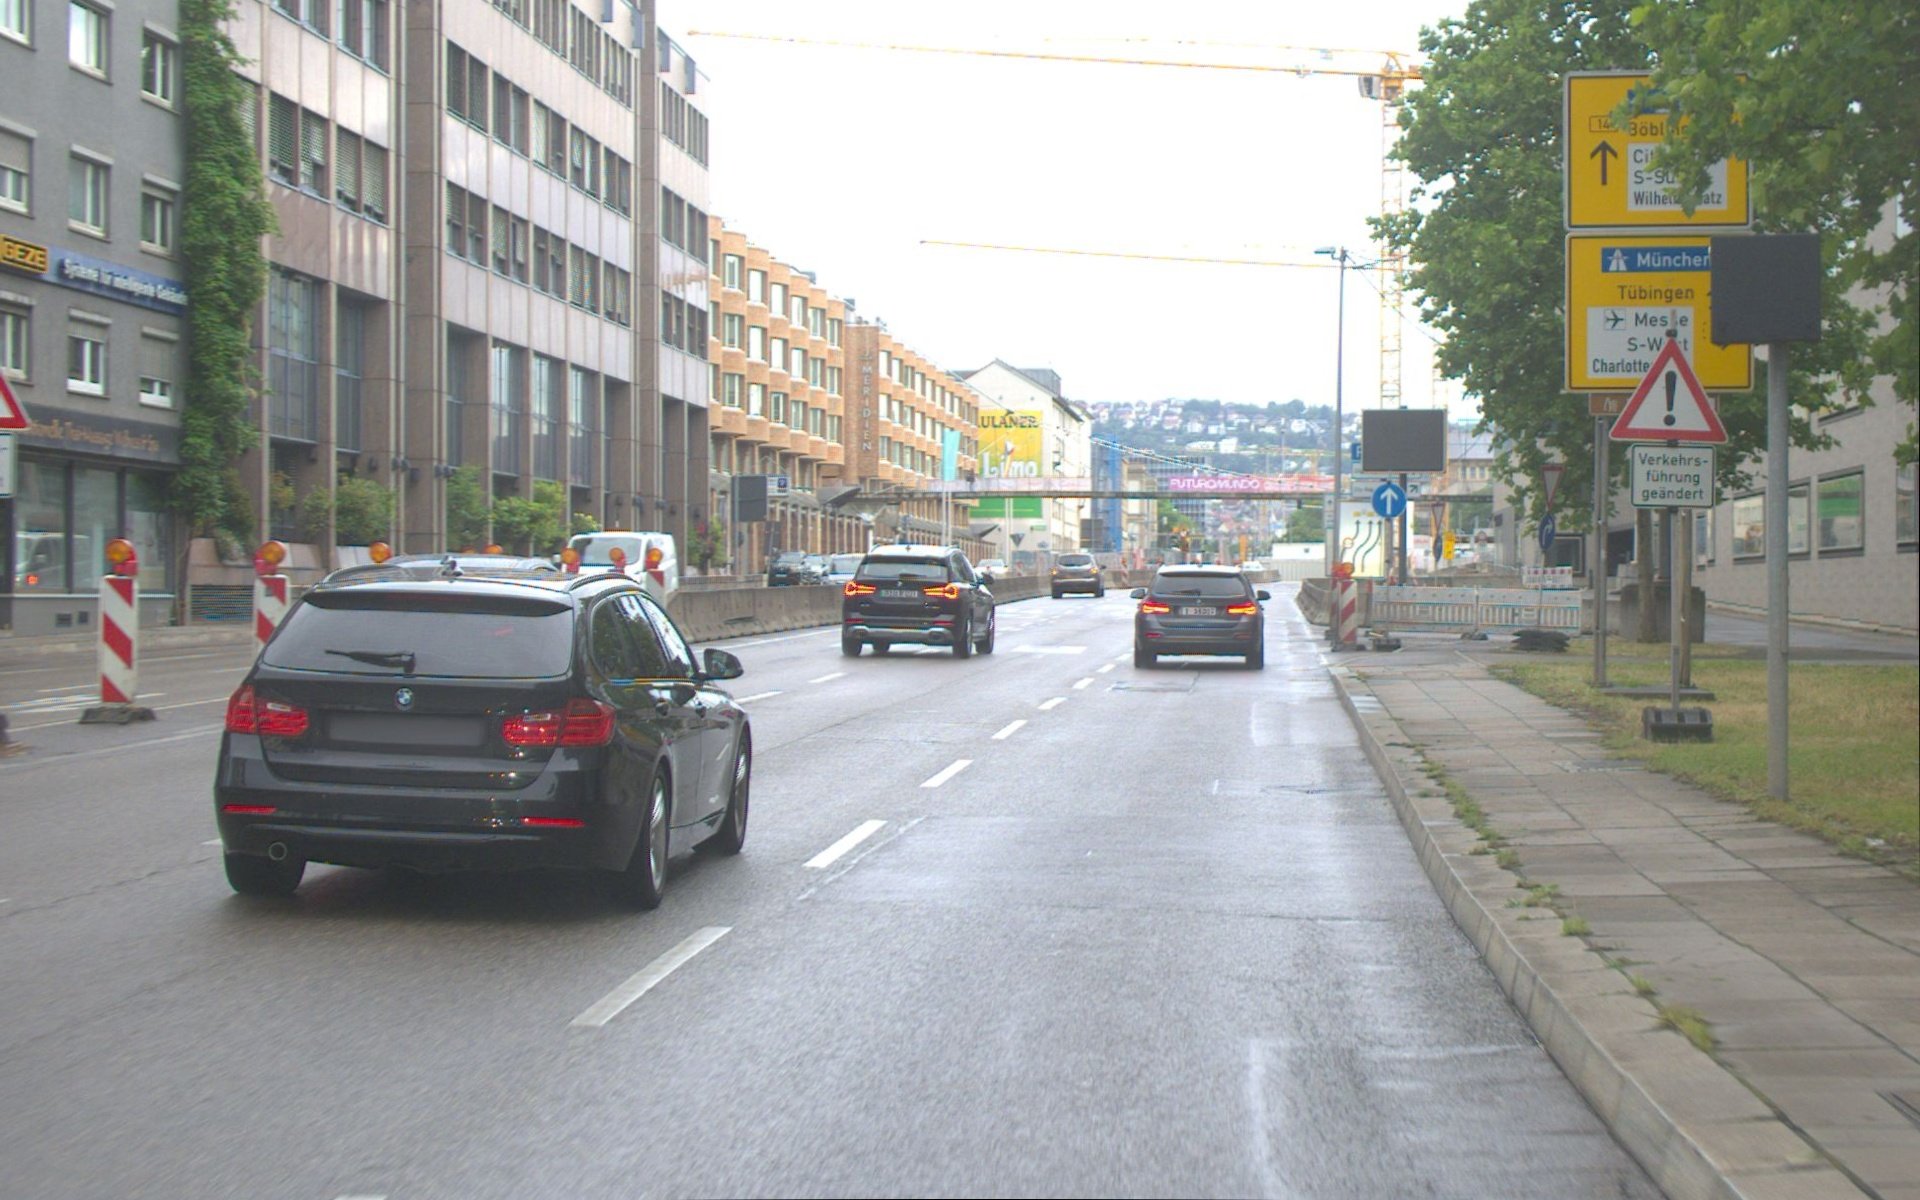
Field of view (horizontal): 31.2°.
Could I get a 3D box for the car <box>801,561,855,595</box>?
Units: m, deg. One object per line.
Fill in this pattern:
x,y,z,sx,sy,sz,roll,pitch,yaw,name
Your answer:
-6.513,-1.093,170.122,1.994,1.614,4.762,0,0,6,car

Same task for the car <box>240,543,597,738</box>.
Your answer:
-4.205,0.280,27.393,1.791,1.422,4.384,0,0,5,car

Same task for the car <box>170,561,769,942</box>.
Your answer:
-2.045,0.562,15.701,1.791,1.421,4.613,2,1,3,car

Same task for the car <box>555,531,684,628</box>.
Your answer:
-7.259,-0.450,73.718,1.994,1.983,5.289,0,0,3,car

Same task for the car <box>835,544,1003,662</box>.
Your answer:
-0.562,0.027,51.259,1.900,1.687,3.999,0,0,8,car

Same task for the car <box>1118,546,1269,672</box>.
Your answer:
3.350,0.106,48.641,1.900,1.687,3.999,0,0,7,car

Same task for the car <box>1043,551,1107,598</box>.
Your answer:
4.224,-0.924,125.625,1.900,1.687,3.999,0,0,8,car
